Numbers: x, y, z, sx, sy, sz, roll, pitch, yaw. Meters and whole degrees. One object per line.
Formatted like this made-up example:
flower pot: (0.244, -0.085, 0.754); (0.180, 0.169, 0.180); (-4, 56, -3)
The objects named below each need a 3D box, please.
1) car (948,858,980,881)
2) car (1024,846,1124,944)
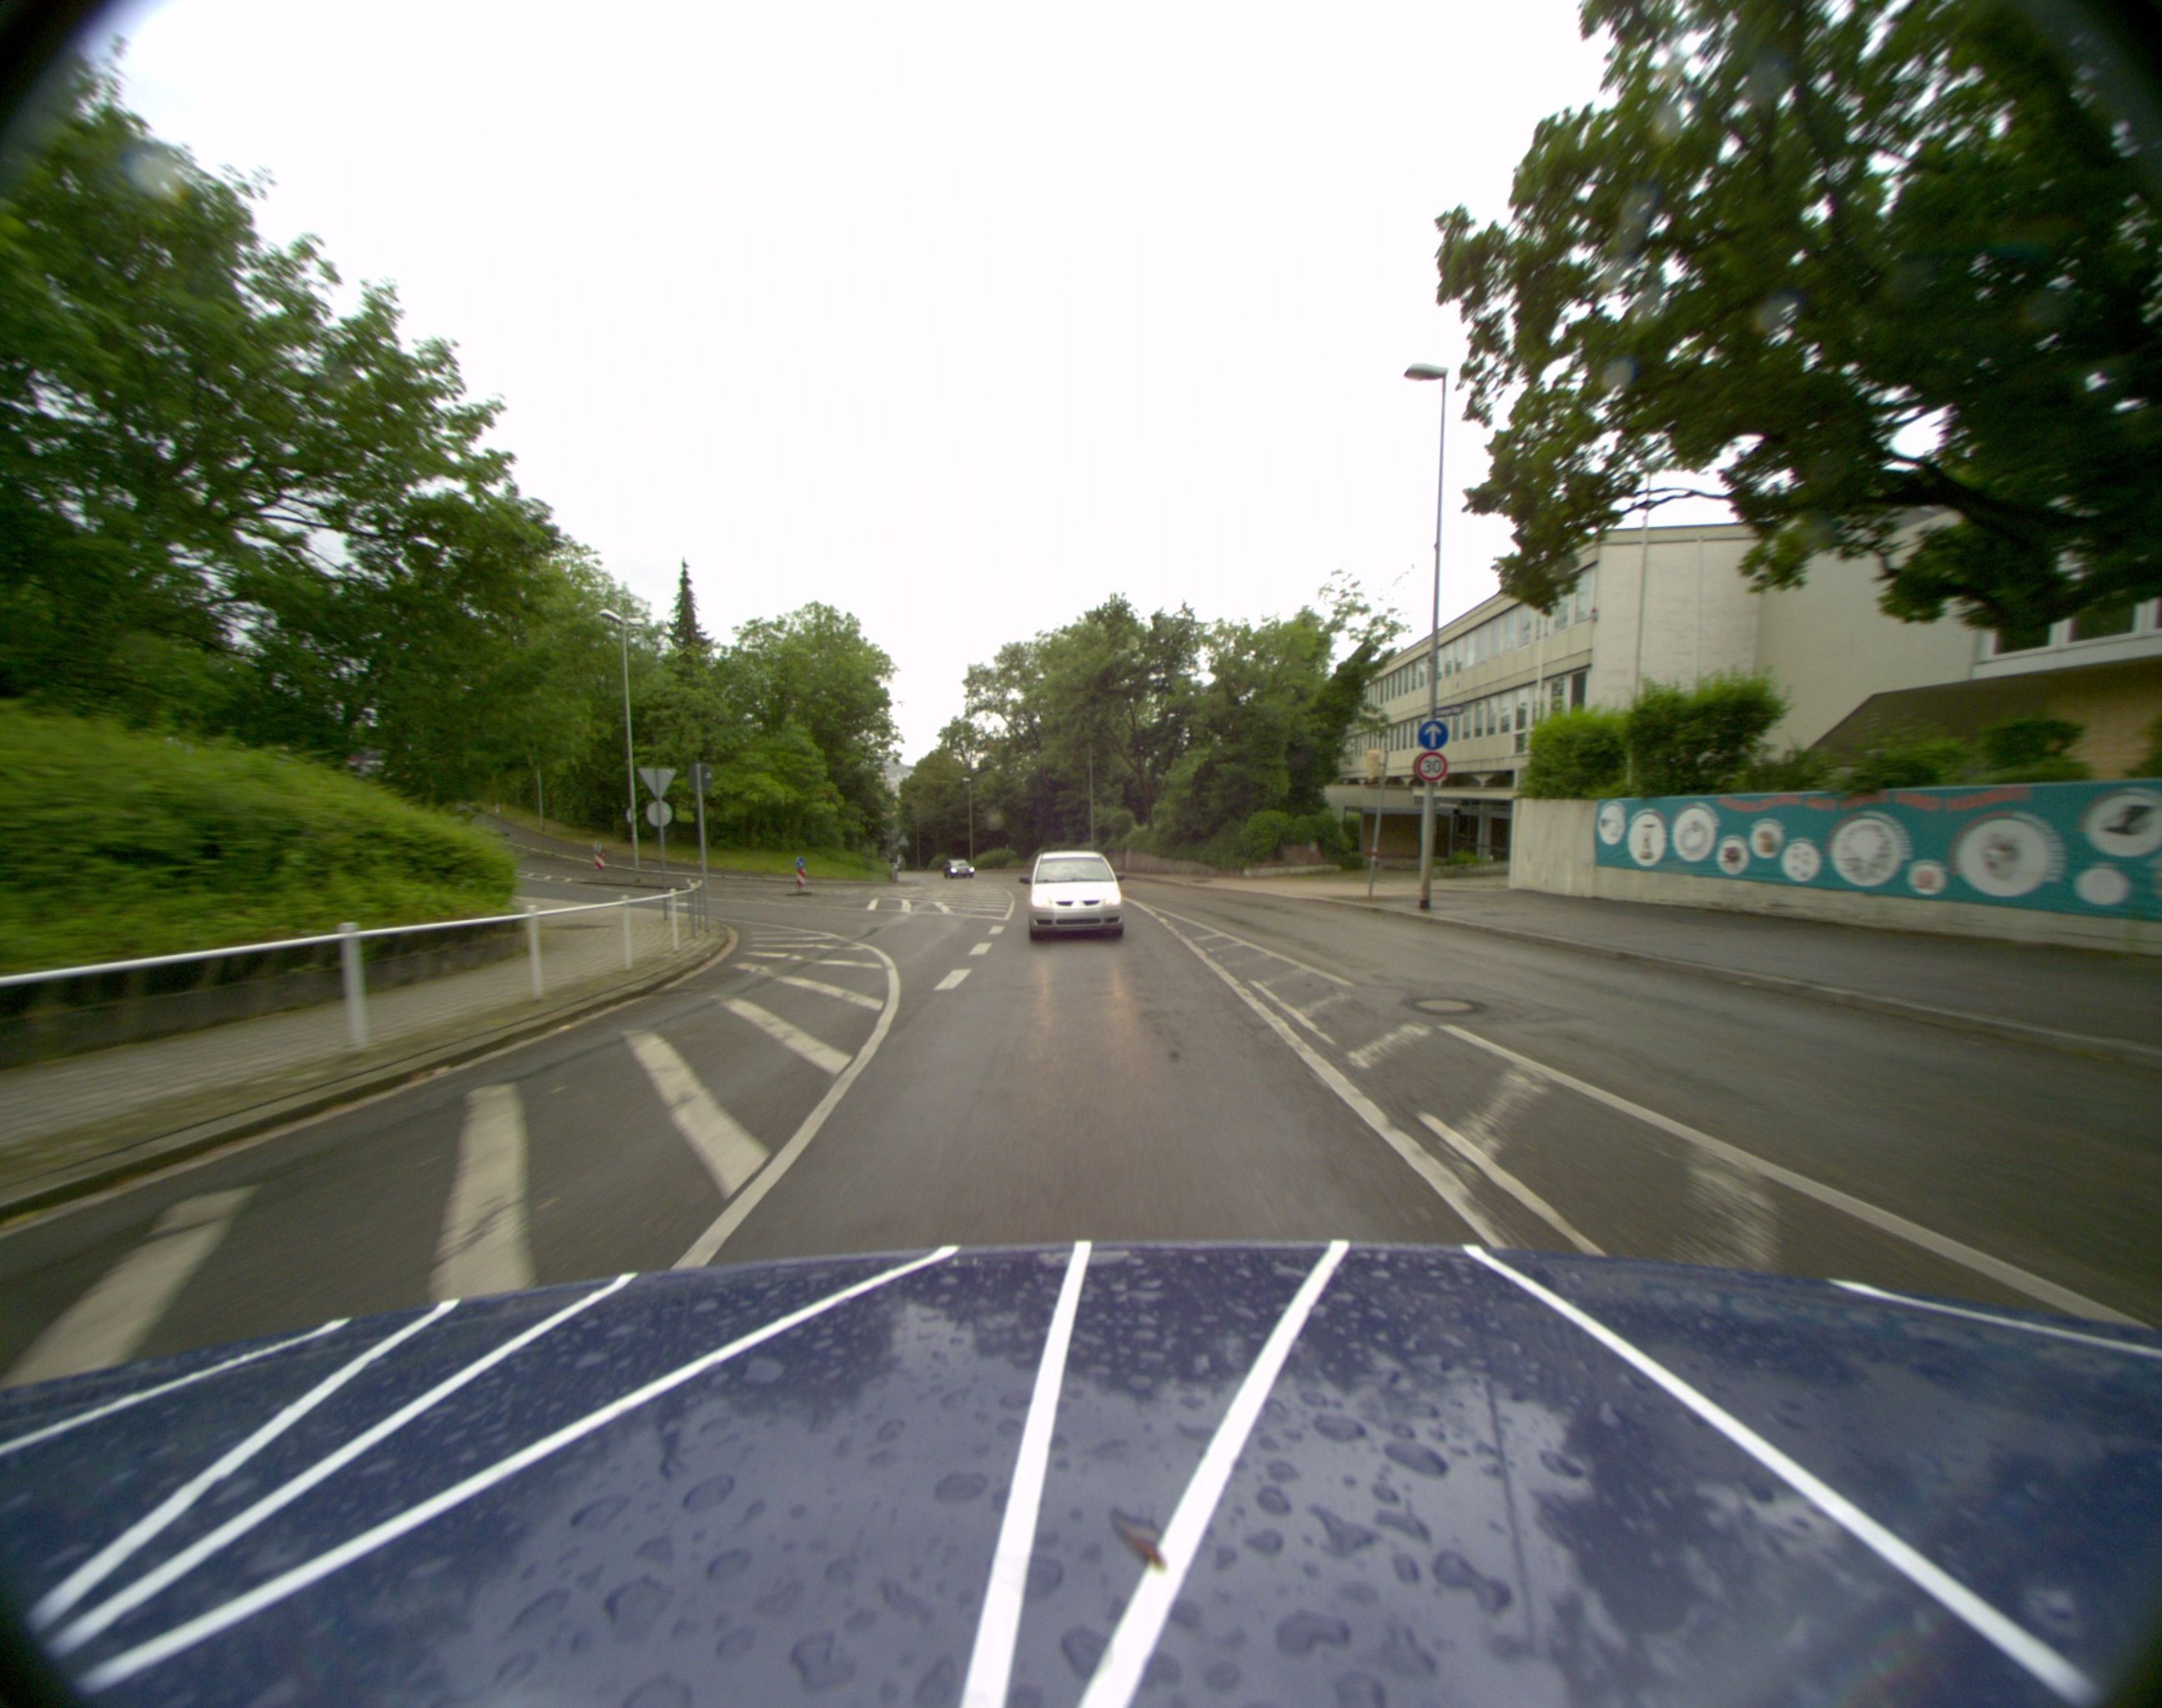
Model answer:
car: (-9.390, 1.195, 60.732); (2.038, 1.691, 3.995); (-2, 1, -14)
car: (-0.202, 0.655, 14.659); (1.640, 1.496, 3.997); (-2, 2, -3)
